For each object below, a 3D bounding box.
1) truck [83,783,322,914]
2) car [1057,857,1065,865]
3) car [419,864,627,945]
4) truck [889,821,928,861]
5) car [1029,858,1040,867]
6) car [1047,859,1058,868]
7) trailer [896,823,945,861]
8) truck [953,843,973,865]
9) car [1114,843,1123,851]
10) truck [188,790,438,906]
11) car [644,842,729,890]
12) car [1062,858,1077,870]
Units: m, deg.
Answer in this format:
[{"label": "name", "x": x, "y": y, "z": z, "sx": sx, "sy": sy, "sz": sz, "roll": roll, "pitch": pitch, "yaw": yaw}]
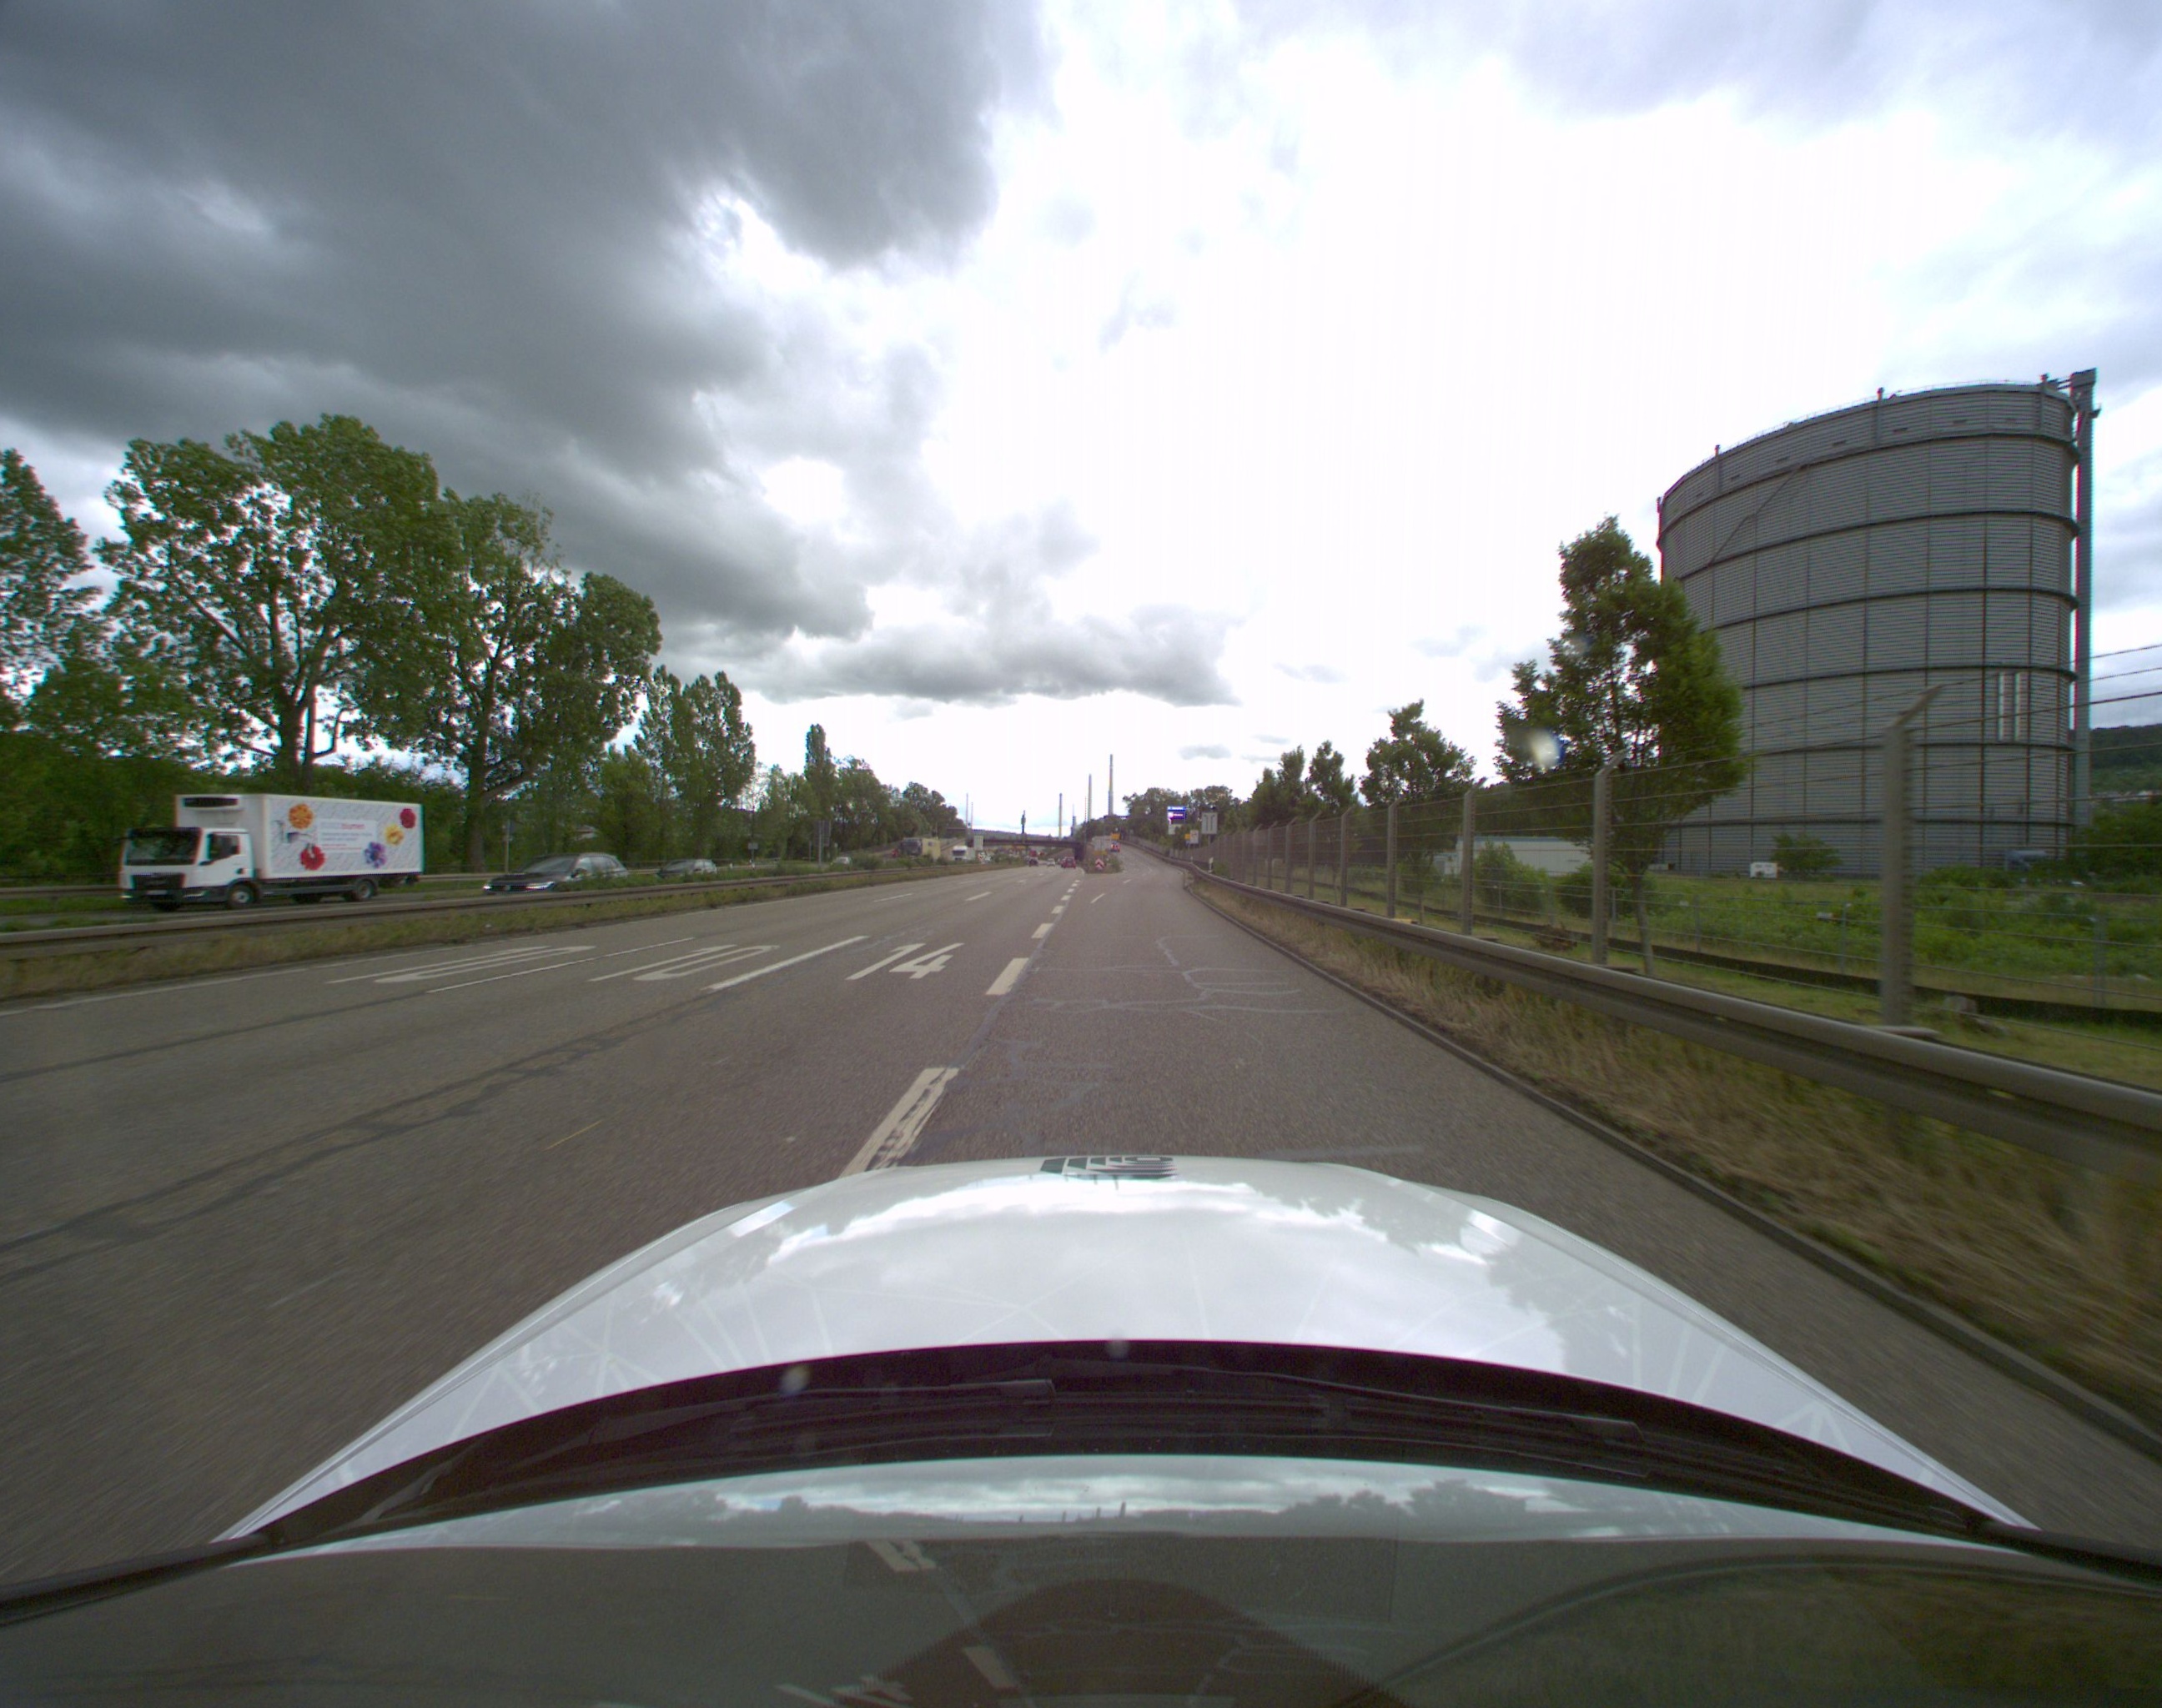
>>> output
[{"label": "truck", "x": -27.023, "y": -0.170, "z": 25.325, "sx": 2.977, "sy": 3.643, "sz": 3.997, "roll": 2, "pitch": 0, "yaw": -3}, {"label": "car", "x": -4.980, "y": 1.769, "z": 205.234, "sx": 1.914, "sy": 2.013, "sz": 3.995, "roll": 1, "pitch": 1, "yaw": -4}, {"label": "car", "x": -14.965, "y": 1.241, "z": 22.345, "sx": 1.841, "sy": 1.730, "sz": 5.523, "roll": -4, "pitch": 0, "yaw": -1}, {"label": "truck", "x": -21.294, "y": -1.545, "z": 100.786, "sx": 3.452, "sy": 4.673, "sz": 6.210, "roll": 1, "pitch": 0, "yaw": 0}, {"label": "car", "x": -9.596, "y": 1.764, "z": 168.596, "sx": 1.987, "sy": 1.684, "sz": 4.001, "roll": 1, "pitch": 1, "yaw": 1}, {"label": "car", "x": -5.895, "y": 1.895, "z": 168.112, "sx": 1.987, "sy": 1.684, "sz": 4.001, "roll": 1, "pitch": 1, "yaw": 1}, {"label": "trailer", "x": -21.260, "y": -1.550, "z": 109.020, "sx": 3.452, "sy": 4.673, "sz": 14.781, "roll": 1, "pitch": 0, "yaw": 0}, {"label": "truck", "x": -21.536, "y": 0.007, "z": 148.694, "sx": 2.782, "sy": 3.937, "sz": 5.309, "roll": 1, "pitch": -1, "yaw": -1}, {"label": "car", "x": 7.624, "y": -1.365, "z": 166.570, "sx": 1.742, "sy": 1.580, "sz": 4.090, "roll": 2, "pitch": 0, "yaw": 4}, {"label": "truck", "x": -27.174, "y": -0.209, "z": 29.335, "sx": 2.975, "sy": 3.643, "sz": 6.332, "roll": 2, "pitch": 0, "yaw": -2}, {"label": "car", "x": -18.012, "y": 0.501, "z": 37.395, "sx": 1.988, "sy": 2.013, "sz": 3.997, "roll": 2, "pitch": 0, "yaw": -2}, {"label": "car", "x": -1.563, "y": 1.307, "z": 109.440, "sx": 1.988, "sy": 1.420, "sz": 3.998, "roll": 1, "pitch": 1, "yaw": -2}]
